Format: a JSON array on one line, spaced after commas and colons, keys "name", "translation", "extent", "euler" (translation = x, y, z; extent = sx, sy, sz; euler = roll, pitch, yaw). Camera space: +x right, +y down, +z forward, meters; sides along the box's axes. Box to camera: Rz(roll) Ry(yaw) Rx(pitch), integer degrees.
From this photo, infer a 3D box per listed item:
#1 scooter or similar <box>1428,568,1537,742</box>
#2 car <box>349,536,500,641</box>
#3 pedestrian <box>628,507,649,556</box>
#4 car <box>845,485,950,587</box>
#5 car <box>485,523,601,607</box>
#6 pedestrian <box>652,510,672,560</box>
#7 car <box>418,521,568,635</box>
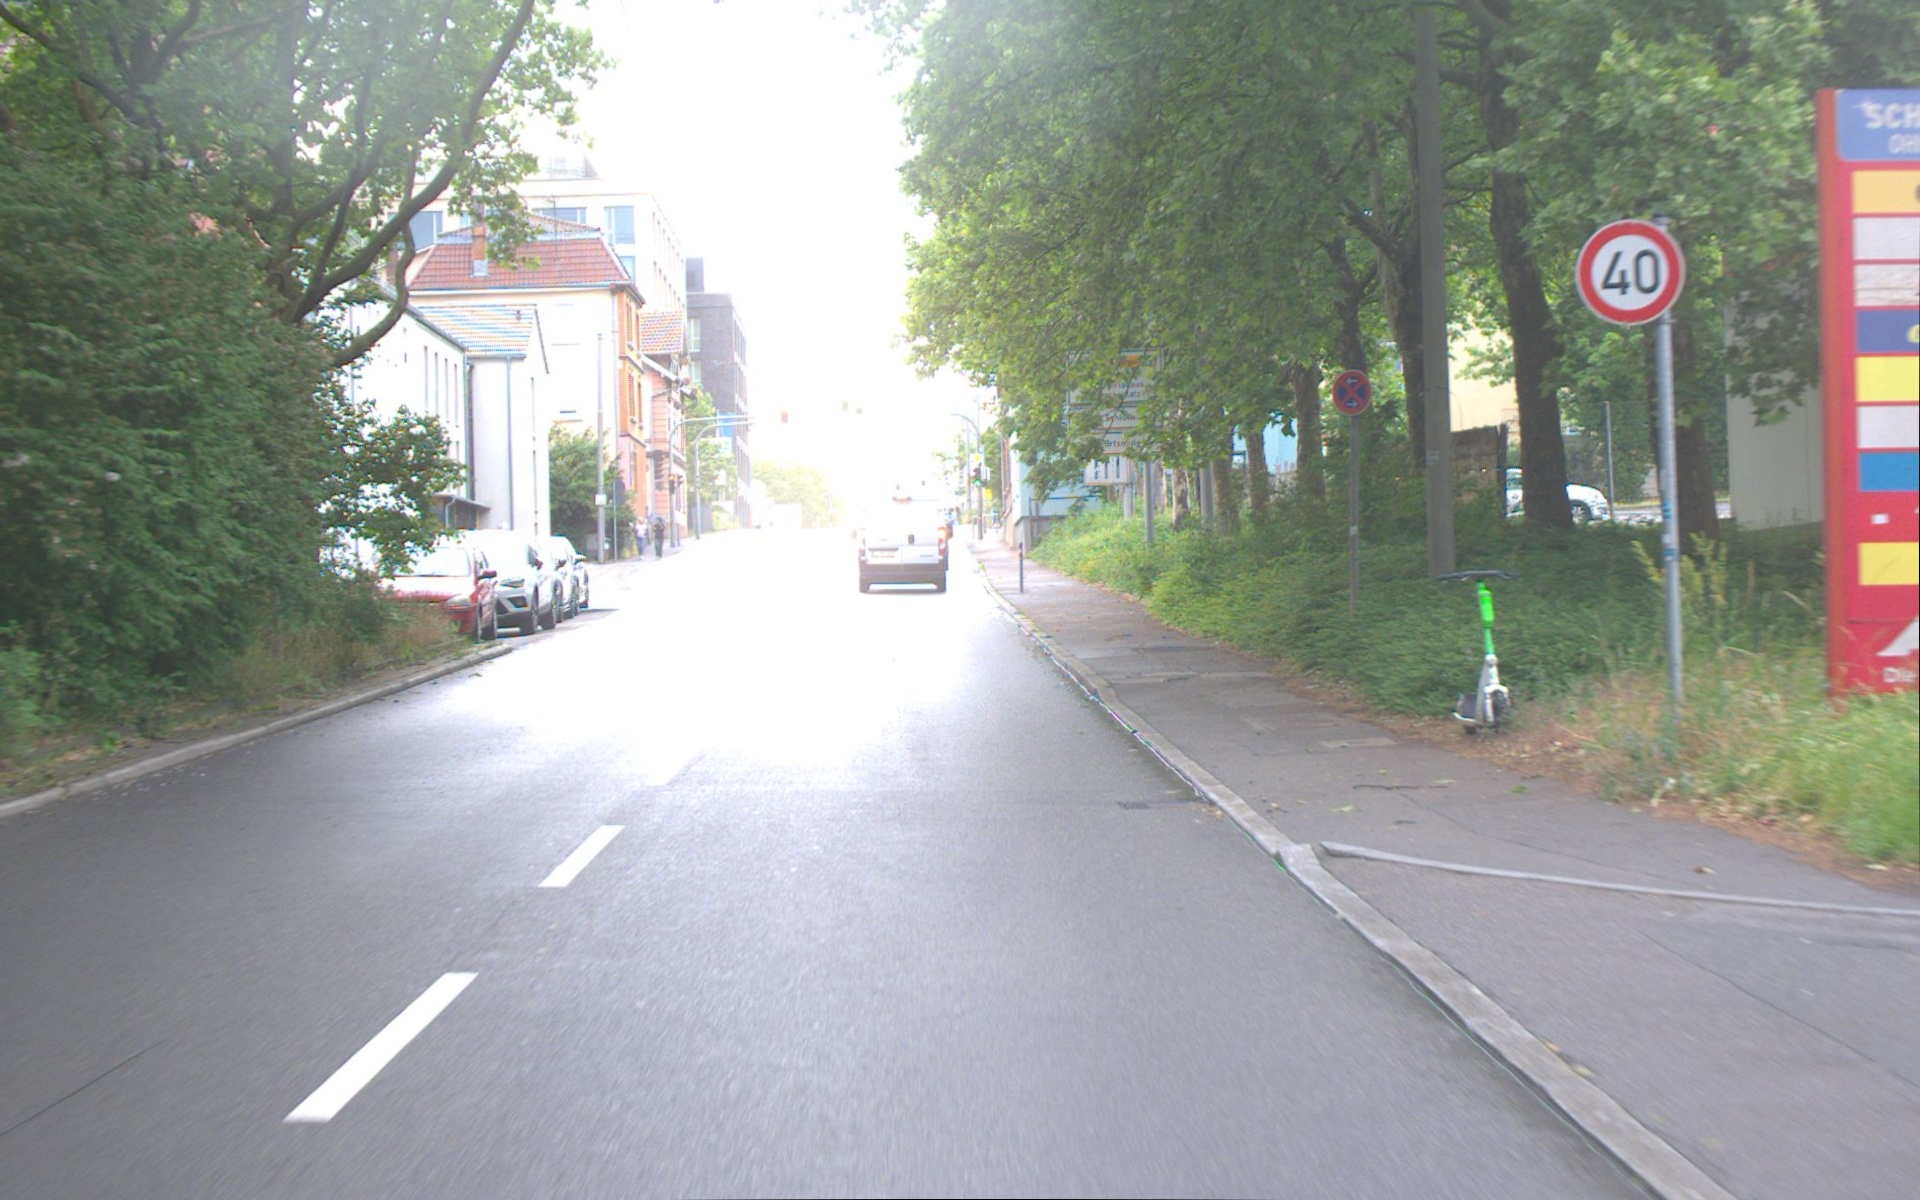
[{"name": "scooter or similar", "translation": [3.538, 0.373, 23.354], "extent": [0.425, 1.138, 1.529], "euler": [1, -1, -3]}, {"name": "car", "translation": [-7.304, -0.192, 47.170], "extent": [1.638, 1.369, 3.760], "euler": [0, 1, -3]}, {"name": "pedestrian", "translation": [-13.039, -2.778, 139.443], "extent": [0.671, 2.007, 0.941], "euler": [0, 1, 3]}, {"name": "car", "translation": [-1.422, -1.472, 80.158], "extent": [2.336, 2.223, 4.000], "euler": [-2, 0, 0]}, {"name": "car", "translation": [-7.687, -0.659, 63.700], "extent": [1.635, 1.477, 4.359], "euler": [1, 1, -1]}, {"name": "pedestrian", "translation": [-12.081, -2.625, 139.465], "extent": [0.671, 2.007, 0.941], "euler": [0, 1, 3]}, {"name": "car", "translation": [-7.097, -0.370, 52.573], "extent": [1.691, 1.536, 4.118], "euler": [-3, 2, 0]}]
